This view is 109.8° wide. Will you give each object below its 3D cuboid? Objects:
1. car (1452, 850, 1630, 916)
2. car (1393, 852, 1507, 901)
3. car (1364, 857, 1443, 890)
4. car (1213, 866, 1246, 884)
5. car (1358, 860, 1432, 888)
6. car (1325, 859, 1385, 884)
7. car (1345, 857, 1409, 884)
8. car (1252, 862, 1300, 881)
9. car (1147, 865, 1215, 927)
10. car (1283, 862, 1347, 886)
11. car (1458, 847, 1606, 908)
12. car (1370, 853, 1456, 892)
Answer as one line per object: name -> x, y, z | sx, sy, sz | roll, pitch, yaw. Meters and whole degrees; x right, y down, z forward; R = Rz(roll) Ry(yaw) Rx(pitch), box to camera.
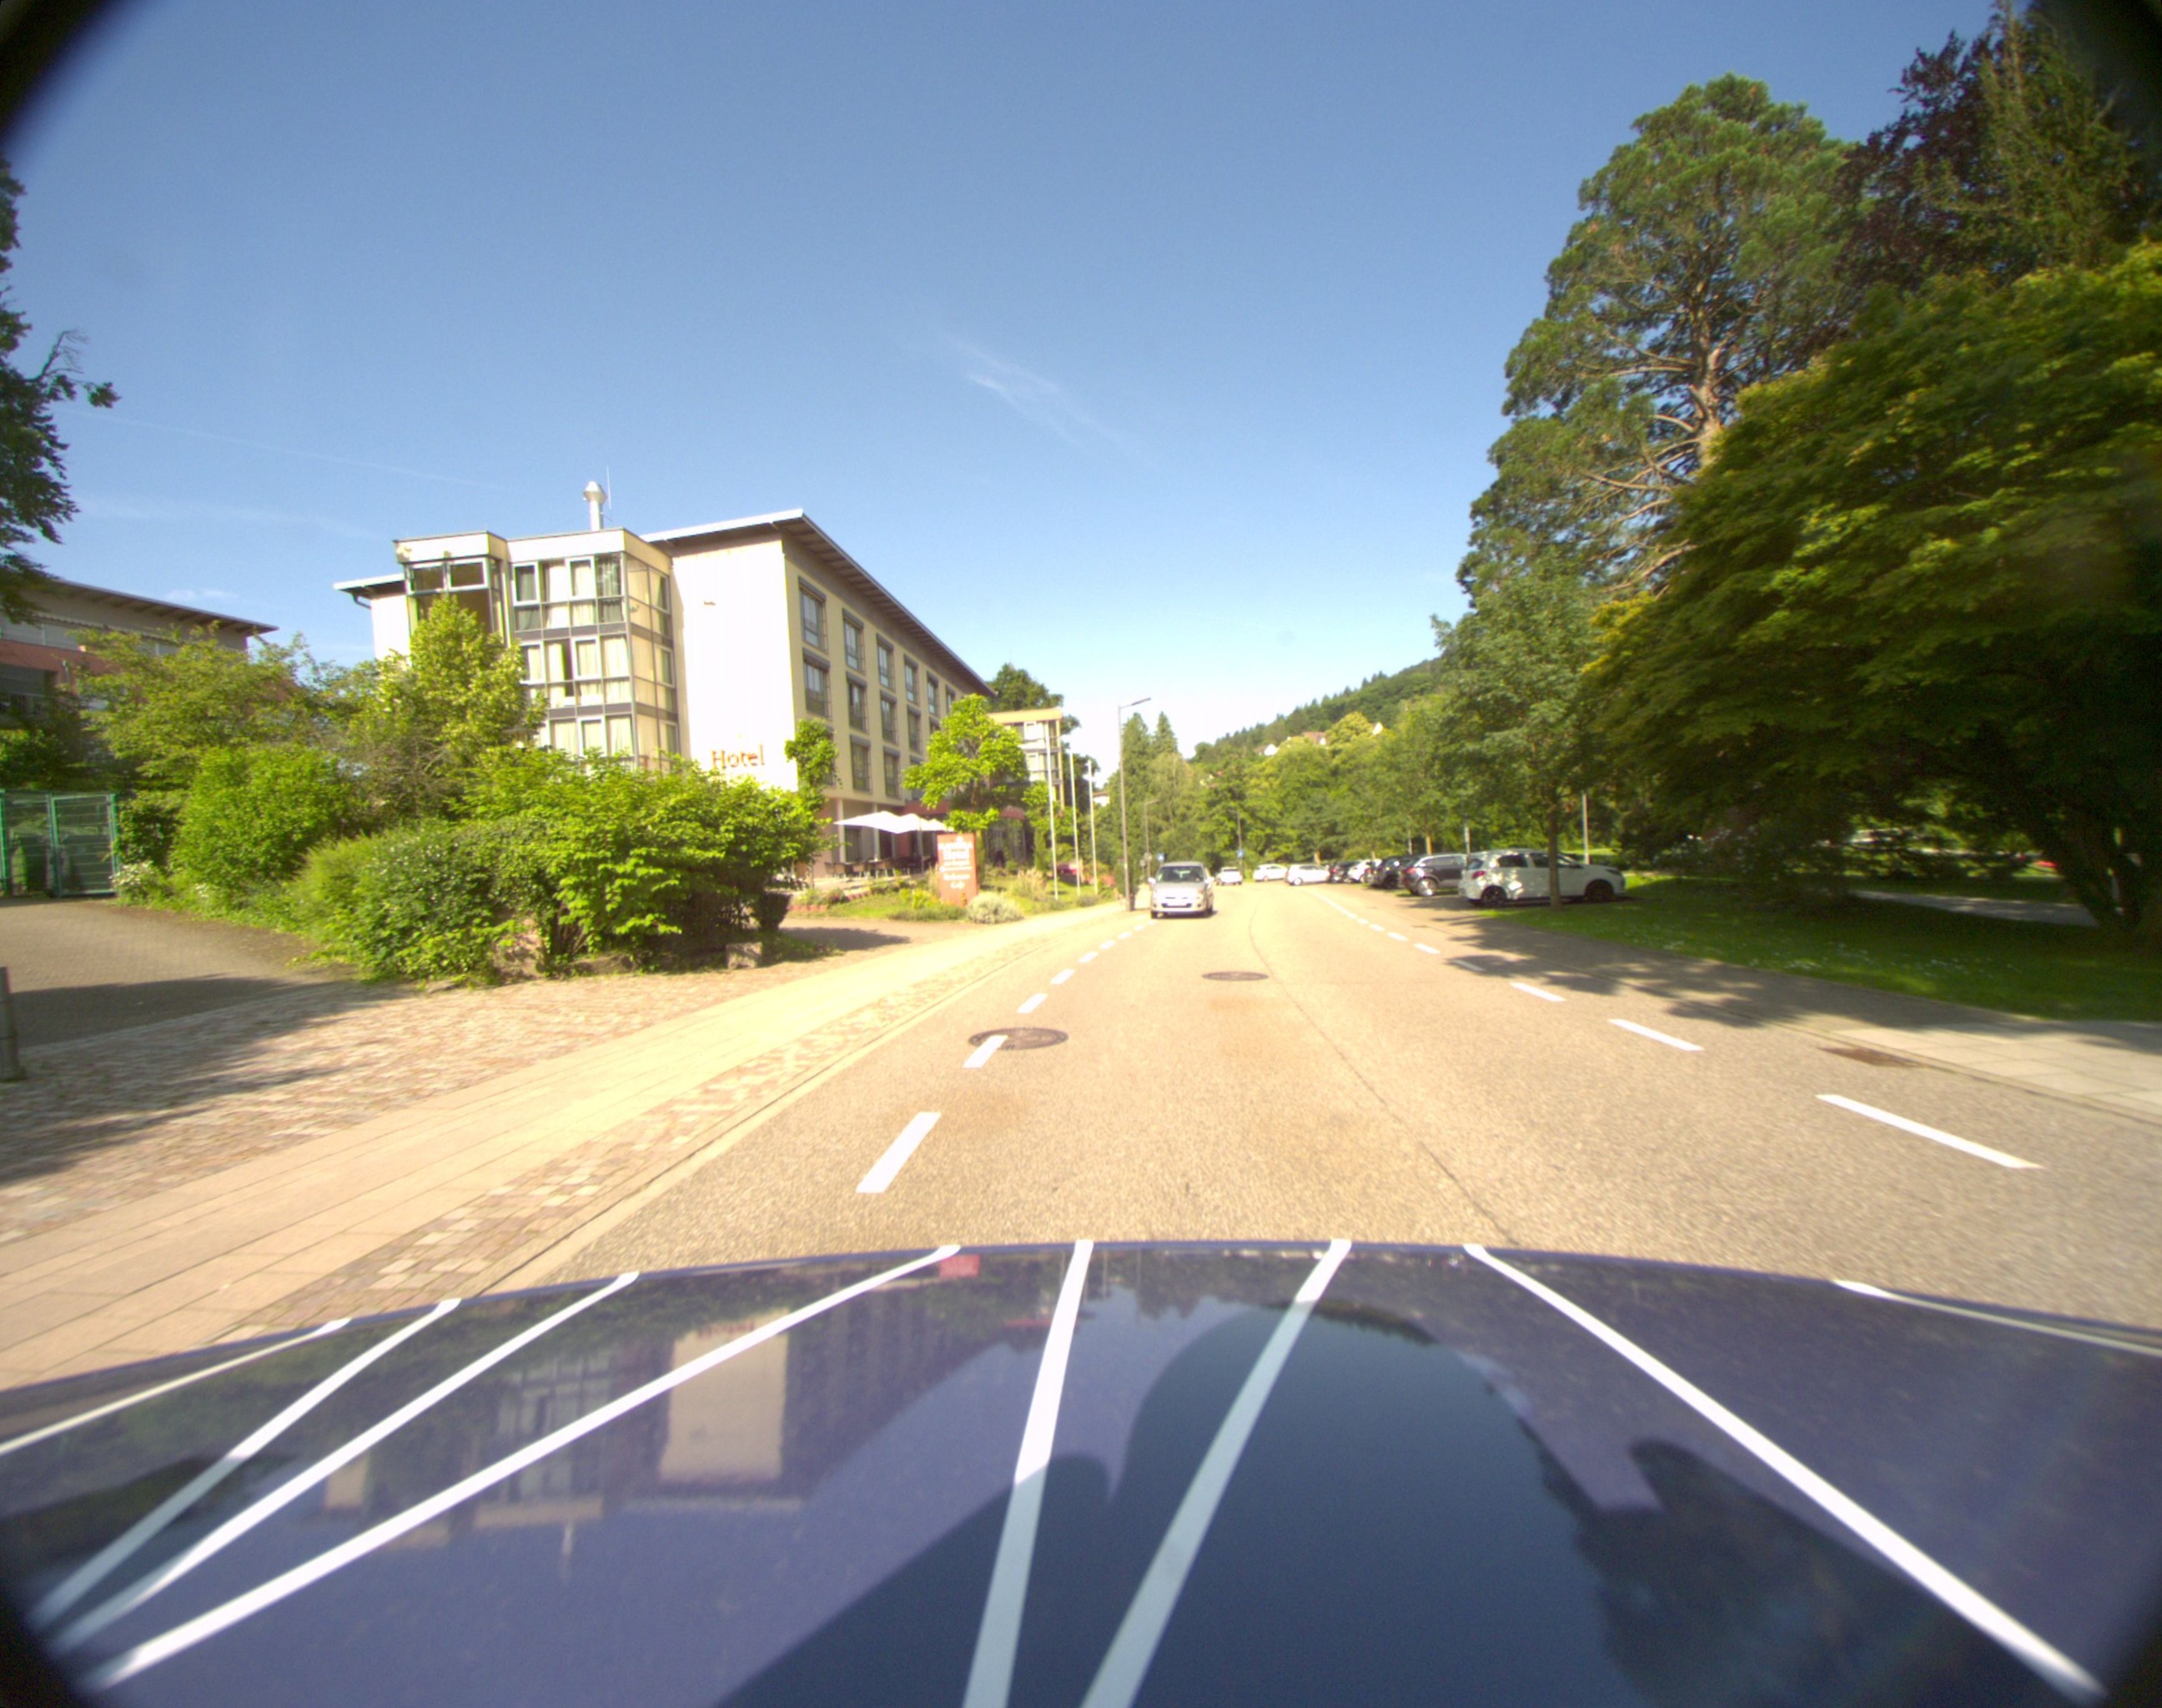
car -> 12.090, 0.758, 20.209 | 3.683, 1.478, 1.568 | -4, -1, 14
car -> 13.474, 0.833, 27.918 | 3.487, 1.536, 1.445 | -4, -1, 14
car -> 16.576, 1.006, 39.206 | 3.487, 1.417, 1.555 | -4, -1, 14
car -> 12.736, 1.806, 65.354 | 1.775, 1.495, 4.000 | -2, -1, -3
car -> 17.216, 1.108, 41.801 | 3.487, 1.293, 1.555 | -4, -1, 14
car -> 18.139, 1.165, 50.438 | 3.487, 1.417, 1.555 | -4, -1, 14
car -> 18.494, 1.005, 47.594 | 3.487, 1.417, 1.555 | -4, -1, 14
car -> 18.267, 1.647, 71.276 | 4.000, 1.468, 1.515 | -3, -1, -10
car -> 3.052, 1.164, 22.593 | 1.603, 1.628, 4.004 | -1, 0, 13
car -> 16.601, 1.437, 53.977 | 3.996, 1.389, 1.517 | -5, -2, 4
car -> 13.395, 0.706, 22.743 | 3.487, 1.543, 1.381 | -4, -1, 14
car -> 15.853, 0.881, 36.409 | 3.487, 1.610, 1.381 | -4, -1, 14
